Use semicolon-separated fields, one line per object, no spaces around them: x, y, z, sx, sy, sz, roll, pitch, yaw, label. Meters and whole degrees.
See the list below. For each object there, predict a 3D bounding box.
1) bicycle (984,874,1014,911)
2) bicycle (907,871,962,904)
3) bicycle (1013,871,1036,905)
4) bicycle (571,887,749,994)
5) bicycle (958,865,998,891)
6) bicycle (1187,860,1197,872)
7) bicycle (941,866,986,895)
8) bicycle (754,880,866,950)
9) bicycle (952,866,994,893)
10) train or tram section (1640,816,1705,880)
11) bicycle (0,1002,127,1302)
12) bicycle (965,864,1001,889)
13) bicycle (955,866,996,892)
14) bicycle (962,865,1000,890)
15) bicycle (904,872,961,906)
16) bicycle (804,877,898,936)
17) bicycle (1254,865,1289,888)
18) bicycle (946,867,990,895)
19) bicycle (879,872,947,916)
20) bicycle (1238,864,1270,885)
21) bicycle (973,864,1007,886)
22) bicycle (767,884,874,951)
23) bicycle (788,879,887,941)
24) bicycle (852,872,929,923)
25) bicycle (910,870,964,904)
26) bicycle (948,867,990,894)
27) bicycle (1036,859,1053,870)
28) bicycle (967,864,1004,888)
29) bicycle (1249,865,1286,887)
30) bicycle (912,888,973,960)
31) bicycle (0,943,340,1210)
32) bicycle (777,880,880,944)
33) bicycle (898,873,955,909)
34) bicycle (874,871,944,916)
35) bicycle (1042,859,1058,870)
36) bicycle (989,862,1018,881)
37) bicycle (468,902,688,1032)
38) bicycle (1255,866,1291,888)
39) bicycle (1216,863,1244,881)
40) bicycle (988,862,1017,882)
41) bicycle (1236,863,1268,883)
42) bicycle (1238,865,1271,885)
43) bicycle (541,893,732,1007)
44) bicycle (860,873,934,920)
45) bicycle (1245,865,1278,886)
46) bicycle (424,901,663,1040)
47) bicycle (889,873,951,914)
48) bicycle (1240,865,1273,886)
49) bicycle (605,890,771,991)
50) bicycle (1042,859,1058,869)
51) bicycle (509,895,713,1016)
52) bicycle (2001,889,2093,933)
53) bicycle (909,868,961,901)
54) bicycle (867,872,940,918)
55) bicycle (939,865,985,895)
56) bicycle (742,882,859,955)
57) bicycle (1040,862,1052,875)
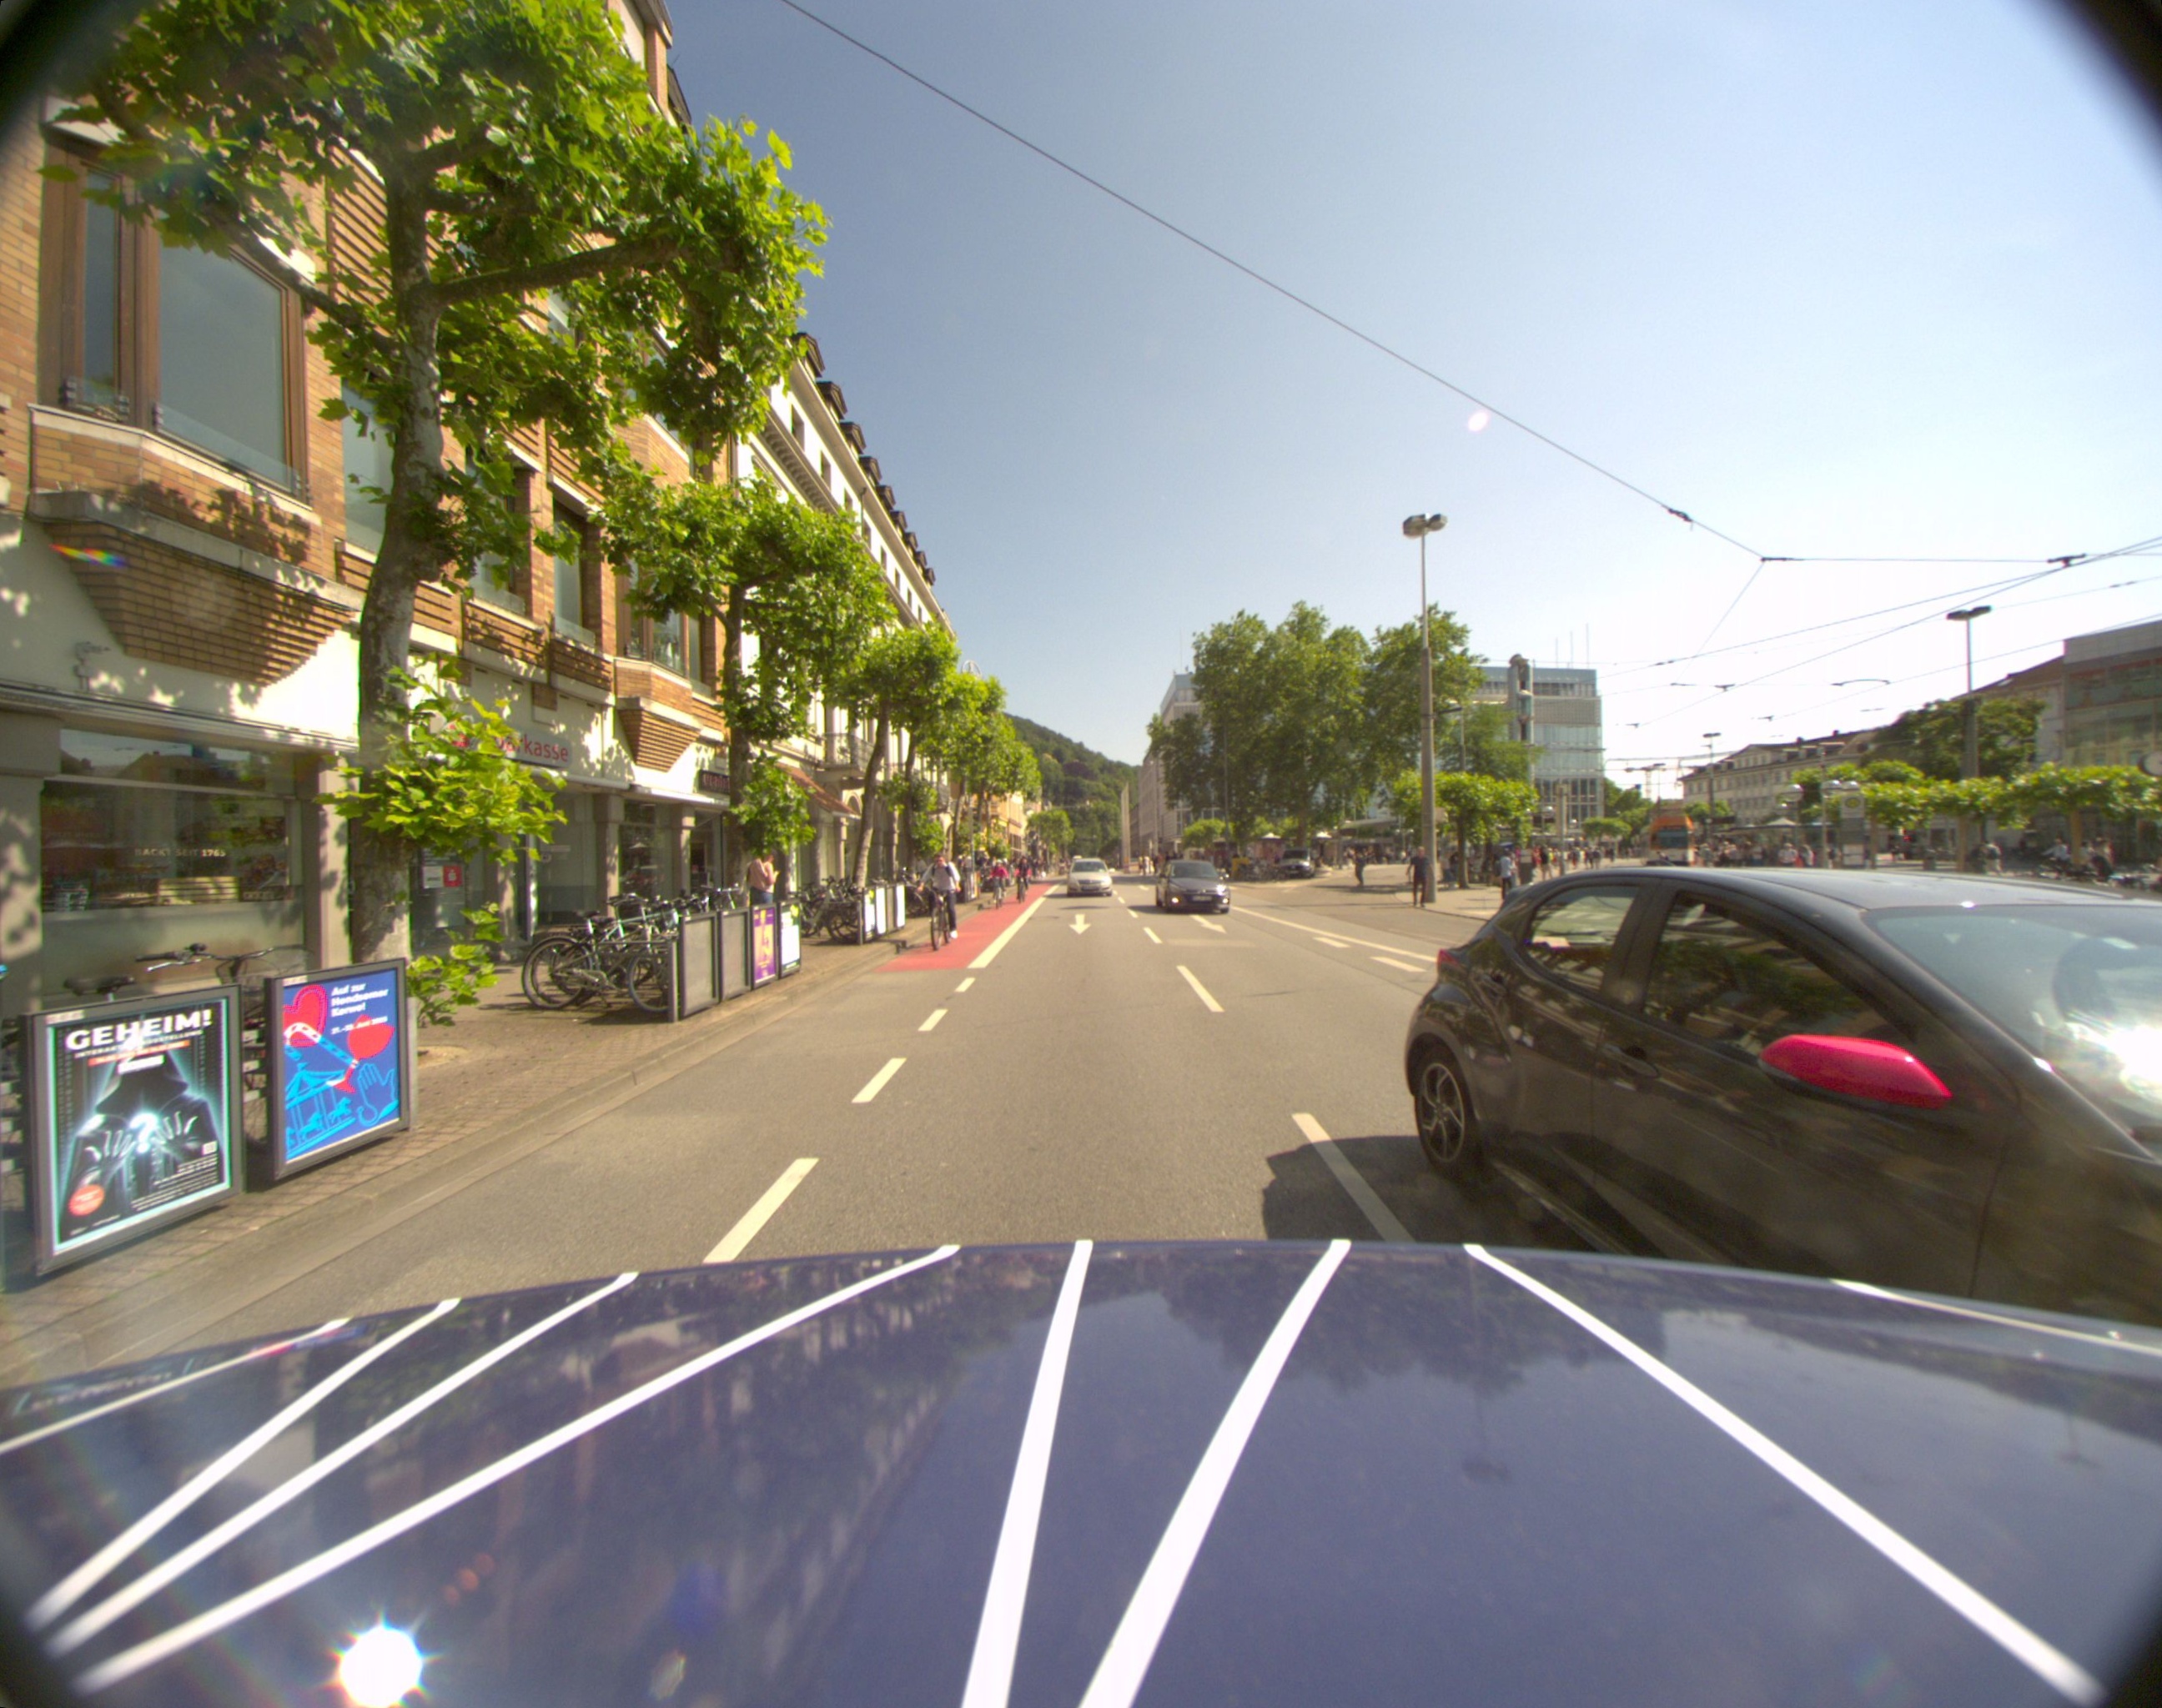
-2.591;1.206;24.268;0.736;1.086;1.819;-3;0;-1;bicycle
-4.989;1.136;25.947;1.757;1.062;0.483;-2;1;-2;bicycle
-1.994;1.184;27.013;0.667;1.086;1.897;-3;0;-2;bicycle
-4.885;0.996;8.879;1.757;1.140;0.483;-2;1;-2;bicycle
-4.824;1.136;35.602;1.757;1.140;0.592;-2;1;-2;bicycle
11.325;1.192;77.391;0.729;1.137;1.914;-3;0;14;bicycle
-4.940;1.122;31.991;1.757;1.140;0.483;-2;1;-2;bicycle
-4.758;1.069;13.390;1.757;1.140;0.483;-2;1;-2;bicycle
-4.802;1.138;33.829;1.757;1.140;0.483;-2;1;-2;bicycle
39.243;-0.519;50.682;2.615;3.805;9.536;-3;0;34;train or tram section
-4.797;1.135;2.839;1.757;1.012;0.483;-2;1;-2;bicycle
-4.798;1.100;37.252;1.707;1.140;0.519;-2;1;-2;bicycle
-4.774;1.128;34.361;1.757;1.140;0.483;-2;1;-2;bicycle
-4.798;1.131;36.542;1.757;1.140;0.592;-2;1;-2;bicycle
-4.954;1.166;25.375;1.757;1.081;0.483;-2;1;-2;bicycle
-4.717;1.071;15.641;1.757;1.140;0.499;-2;1;-2;bicycle
10.261;1.219;41.023;1.757;1.140;0.483;-2;1;-2;bicycle
-4.834;1.162;32.568;1.757;1.140;0.483;-2;1;-2;bicycle
-4.670;1.110;21.210;1.757;1.140;0.483;-2;1;-2;bicycle
10.263;1.206;44.980;1.757;1.140;0.483;-2;1;-2;bicycle
-4.867;1.123;40.693;1.757;1.140;0.592;-2;1;-2;bicycle
-4.754;1.148;13.923;1.757;1.140;0.483;-2;1;-2;bicycle
-4.785;1.093;14.992;1.757;1.140;0.483;-2;1;-2;bicycle
-4.725;1.080;18.917;1.757;1.180;0.483;-2;1;-2;bicycle
-5.020;1.148;26.570;1.757;1.140;0.483;-2;1;-2;bicycle
-4.894;1.148;33.251;1.757;1.140;0.483;-2;1;-2;bicycle
-3.963;1.119;82.866;1.757;1.140;0.592;-2;1;-2;bicycle
-4.744;1.097;37.896;1.757;1.140;0.592;-2;1;-2;bicycle
10.289;1.214;41.923;1.865;1.140;0.483;-2;1;-2;bicycle
-2.468;1.224;13.786;0.736;1.086;1.897;-3;0;-1;bicycle
-4.801;1.063;3.737;1.757;1.140;0.483;-2;1;-2;bicycle
-4.781;1.090;14.440;1.757;1.140;0.483;-2;1;-2;bicycle
-5.037;1.204;24.839;1.757;1.099;0.483;-2;1;-2;bicycle
-4.666;1.058;20.659;1.757;1.140;0.527;-2;1;-2;bicycle
-3.571;1.183;87.048;1.757;1.140;0.592;-2;1;-2;bicycle
-4.868;1.104;47.602;1.757;1.140;0.592;-2;1;-2;bicycle
-4.856;1.082;7.399;1.757;1.140;0.483;-2;1;-2;bicycle
10.260;1.226;40.598;1.757;1.140;0.483;-2;1;-2;bicycle
9.890;1.192;50.359;1.757;1.140;0.483;-2;1;-2;bicycle
-4.844;1.105;46.982;1.757;1.140;0.592;-2;1;-2;bicycle
10.272;1.131;45.658;1.757;1.140;0.483;-2;1;-2;bicycle
10.123;1.215;44.356;1.757;1.140;0.483;-2;1;-2;bicycle
-4.863;1.037;8.372;1.757;1.140;0.483;-2;1;-2;bicycle
-4.706;1.085;19.472;1.757;1.140;0.483;-2;1;-2;bicycle
10.231;1.212;43.027;1.757;1.140;0.483;-2;1;-2;bicycle
-4.838;1.034;6.898;1.757;1.140;0.483;-2;1;-2;bicycle
-4.868;1.190;23.017;1.757;1.140;0.483;-2;1;-2;bicycle
10.117;1.217;43.762;1.757;1.140;0.483;-2;1;-2;bicycle
-4.871;1.062;9.476;1.757;1.140;0.483;-2;1;-2;bicycle
-3.576;1.190;88.376;1.757;1.140;0.592;-2;1;-2;bicycle
-4.843;1.036;7.891;1.757;1.140;0.483;-2;1;-2;bicycle
22.319;1.299;17.556;1.871;0.851;0.546;-3;1;-13;bicycle
-5.293;1.099;27.599;1.757;1.140;0.483;-2;1;-2;bicycle
-4.672;1.078;20.050;1.757;1.140;0.483;-2;1;-2;bicycle
-4.906;1.079;31.378;1.804;1.187;0.483;-2;1;-2;bicycle
-4.737;1.084;12.879;1.757;1.140;0.483;-2;1;-2;bicycle
-3.262;1.348;71.370;0.737;1.086;1.895;2;0;-13;bicycle
